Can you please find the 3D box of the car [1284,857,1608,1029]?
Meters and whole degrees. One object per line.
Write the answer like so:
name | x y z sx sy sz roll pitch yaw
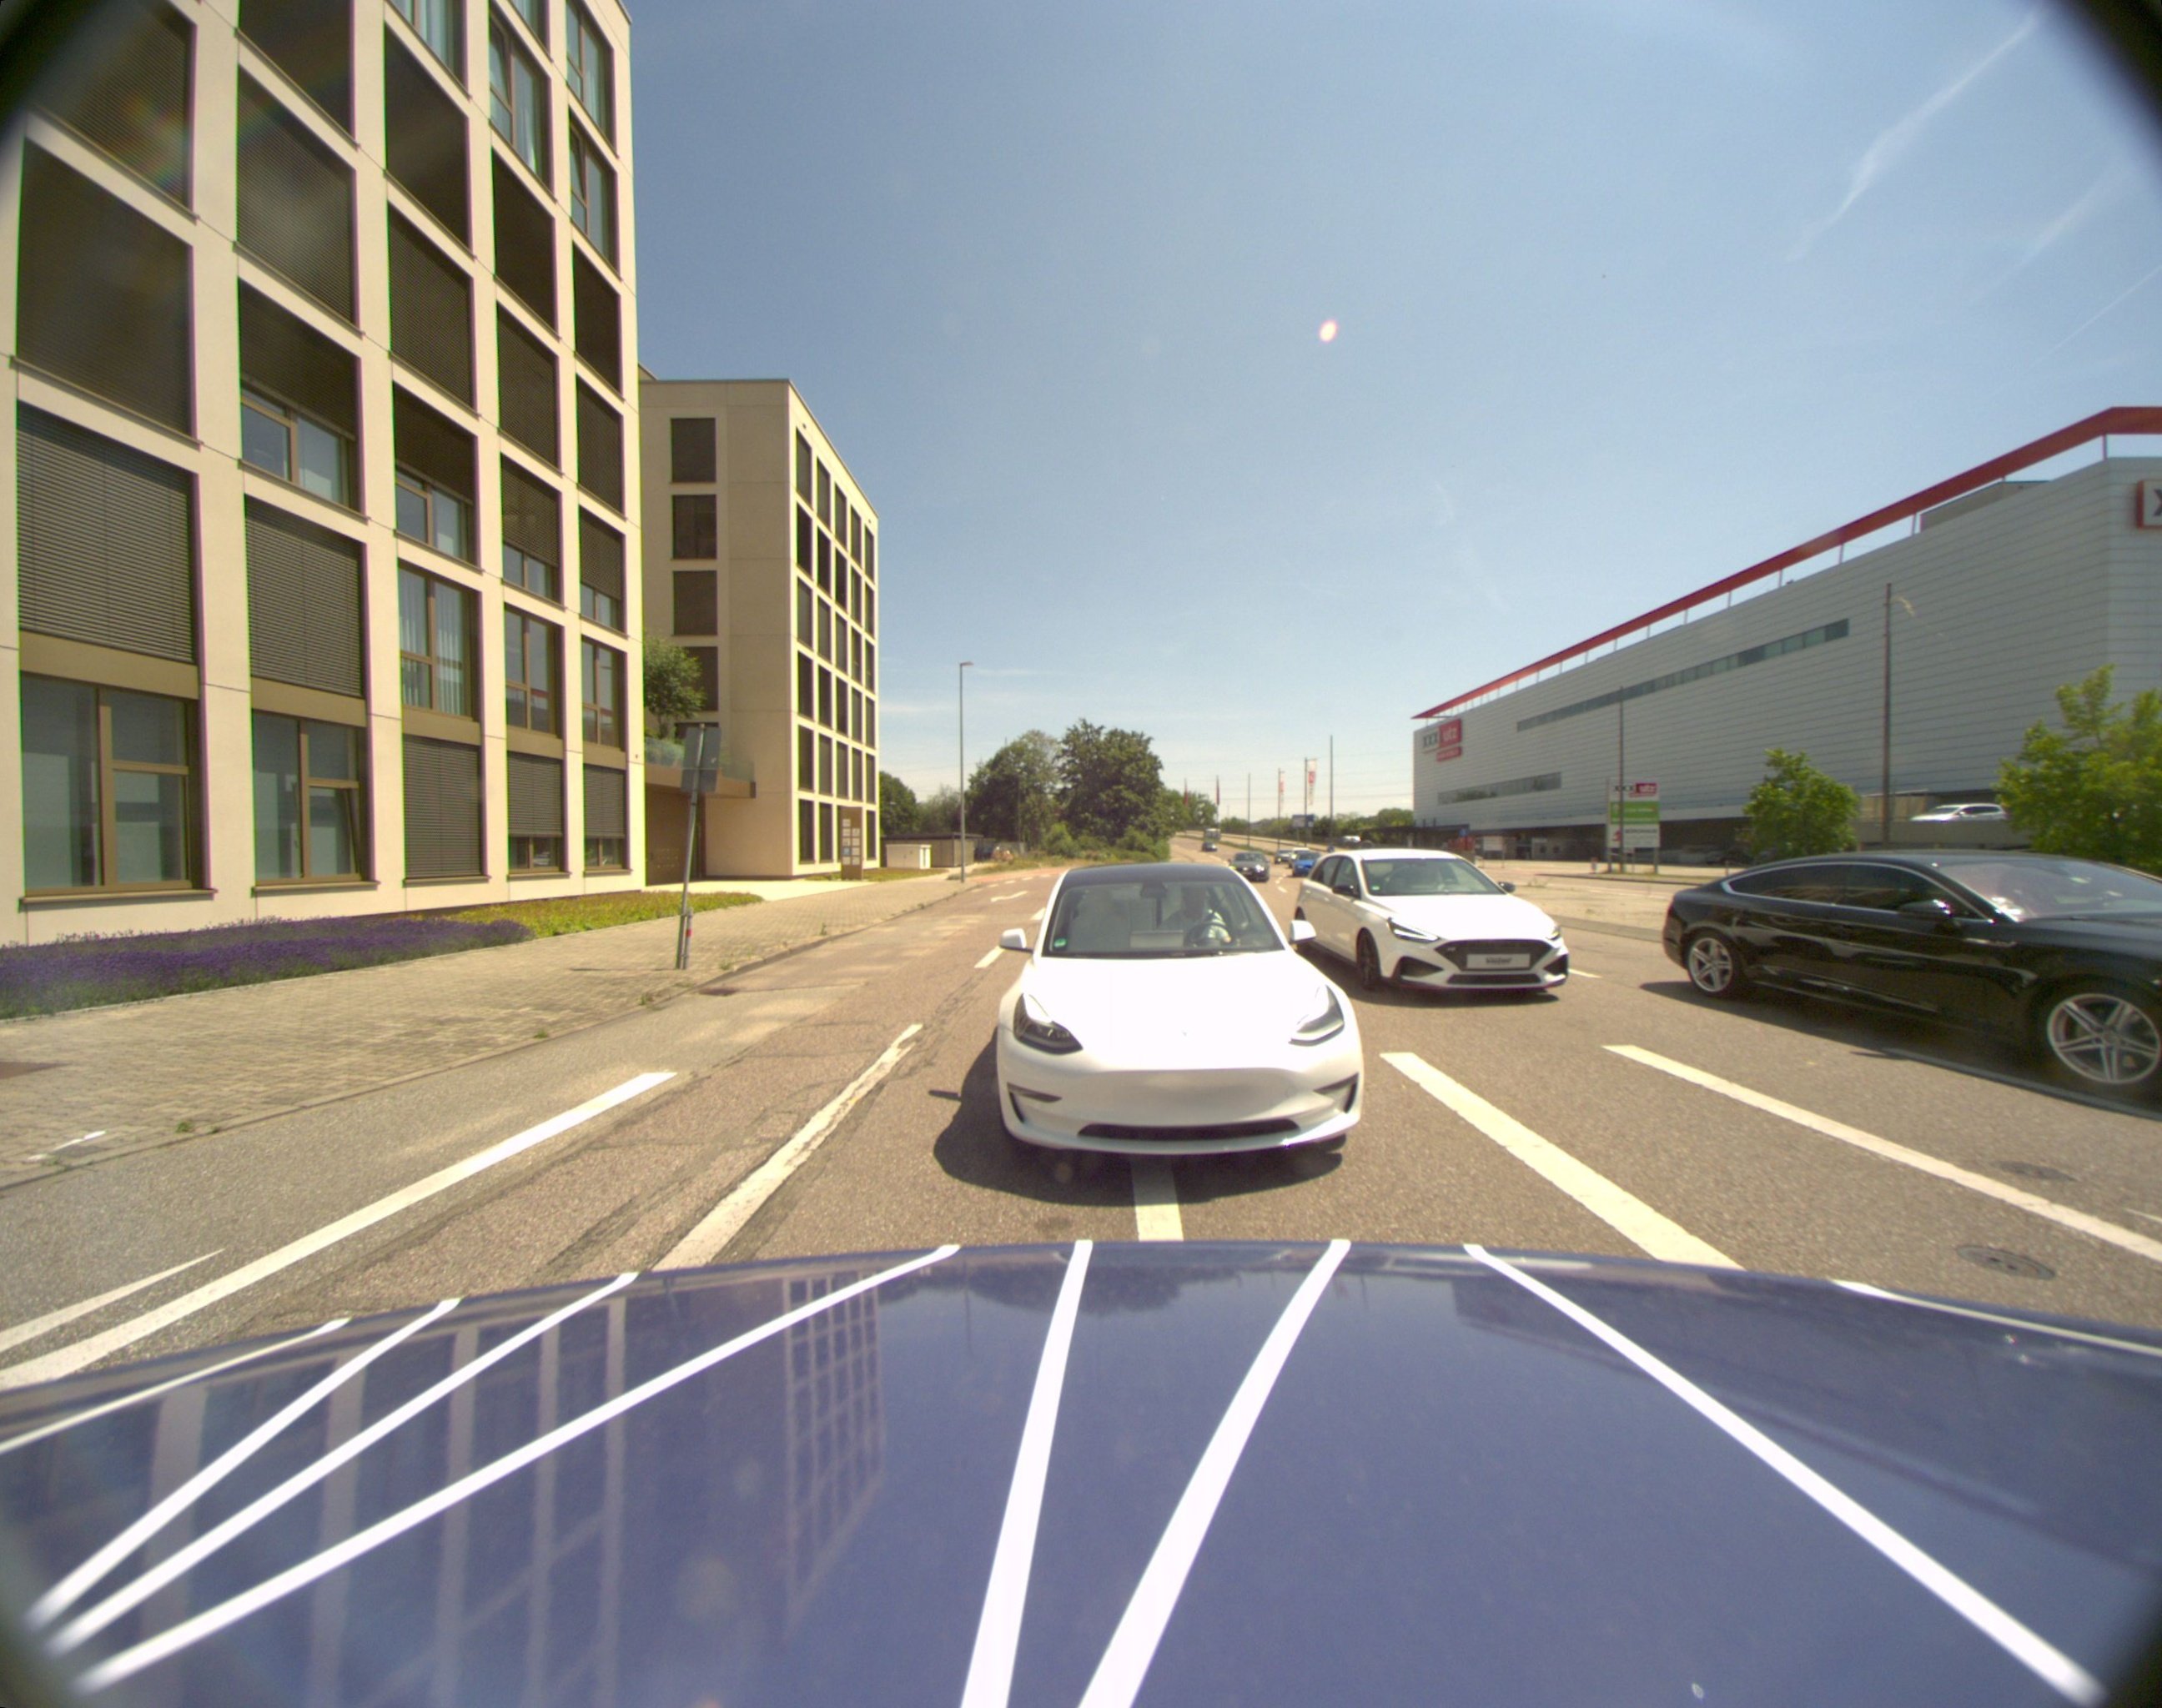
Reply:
car | 3.753 0.786 8.752 1.735 1.441 4.230 -1 0 1

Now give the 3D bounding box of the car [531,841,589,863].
car | -46.181 -0.204 67.486 1.997 1.841 4.003 0 1 10

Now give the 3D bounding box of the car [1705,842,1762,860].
car | 61.130 -0.294 71.223 3.746 1.611 1.912 0 1 1

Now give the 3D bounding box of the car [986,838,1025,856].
car | -8.577 -0.772 86.099 4.005 1.942 1.996 0 1 -24

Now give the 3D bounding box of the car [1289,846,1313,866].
car | 17.952 0.140 62.177 1.677 1.566 4.060 -1 1 13

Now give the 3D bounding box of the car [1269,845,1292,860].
car | 21.796 -0.199 83.271 1.837 1.652 4.001 0 1 6

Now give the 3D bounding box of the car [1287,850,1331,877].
car | 12.883 0.505 43.211 1.800 1.405 4.409 0 1 9

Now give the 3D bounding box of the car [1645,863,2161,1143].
car | 6.555 0.795 5.475 1.752 1.382 4.534 -1 0 3

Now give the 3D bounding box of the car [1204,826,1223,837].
car | 24.509 -4.136 140.696 1.837 1.840 4.833 -2 3 -10

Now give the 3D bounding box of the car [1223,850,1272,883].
car | 7.722 0.538 35.580 1.801 1.369 4.407 0 1 6

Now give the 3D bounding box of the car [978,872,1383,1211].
car | 0.427 0.933 5.795 1.880 1.417 4.405 -2 0 -1

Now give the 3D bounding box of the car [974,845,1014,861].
car | -9.416 -0.164 82.093 4.005 1.652 1.834 0 1 -23

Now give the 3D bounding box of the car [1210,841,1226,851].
car | 19.617 -1.149 109.065 1.475 1.183 3.350 -3 2 -2
